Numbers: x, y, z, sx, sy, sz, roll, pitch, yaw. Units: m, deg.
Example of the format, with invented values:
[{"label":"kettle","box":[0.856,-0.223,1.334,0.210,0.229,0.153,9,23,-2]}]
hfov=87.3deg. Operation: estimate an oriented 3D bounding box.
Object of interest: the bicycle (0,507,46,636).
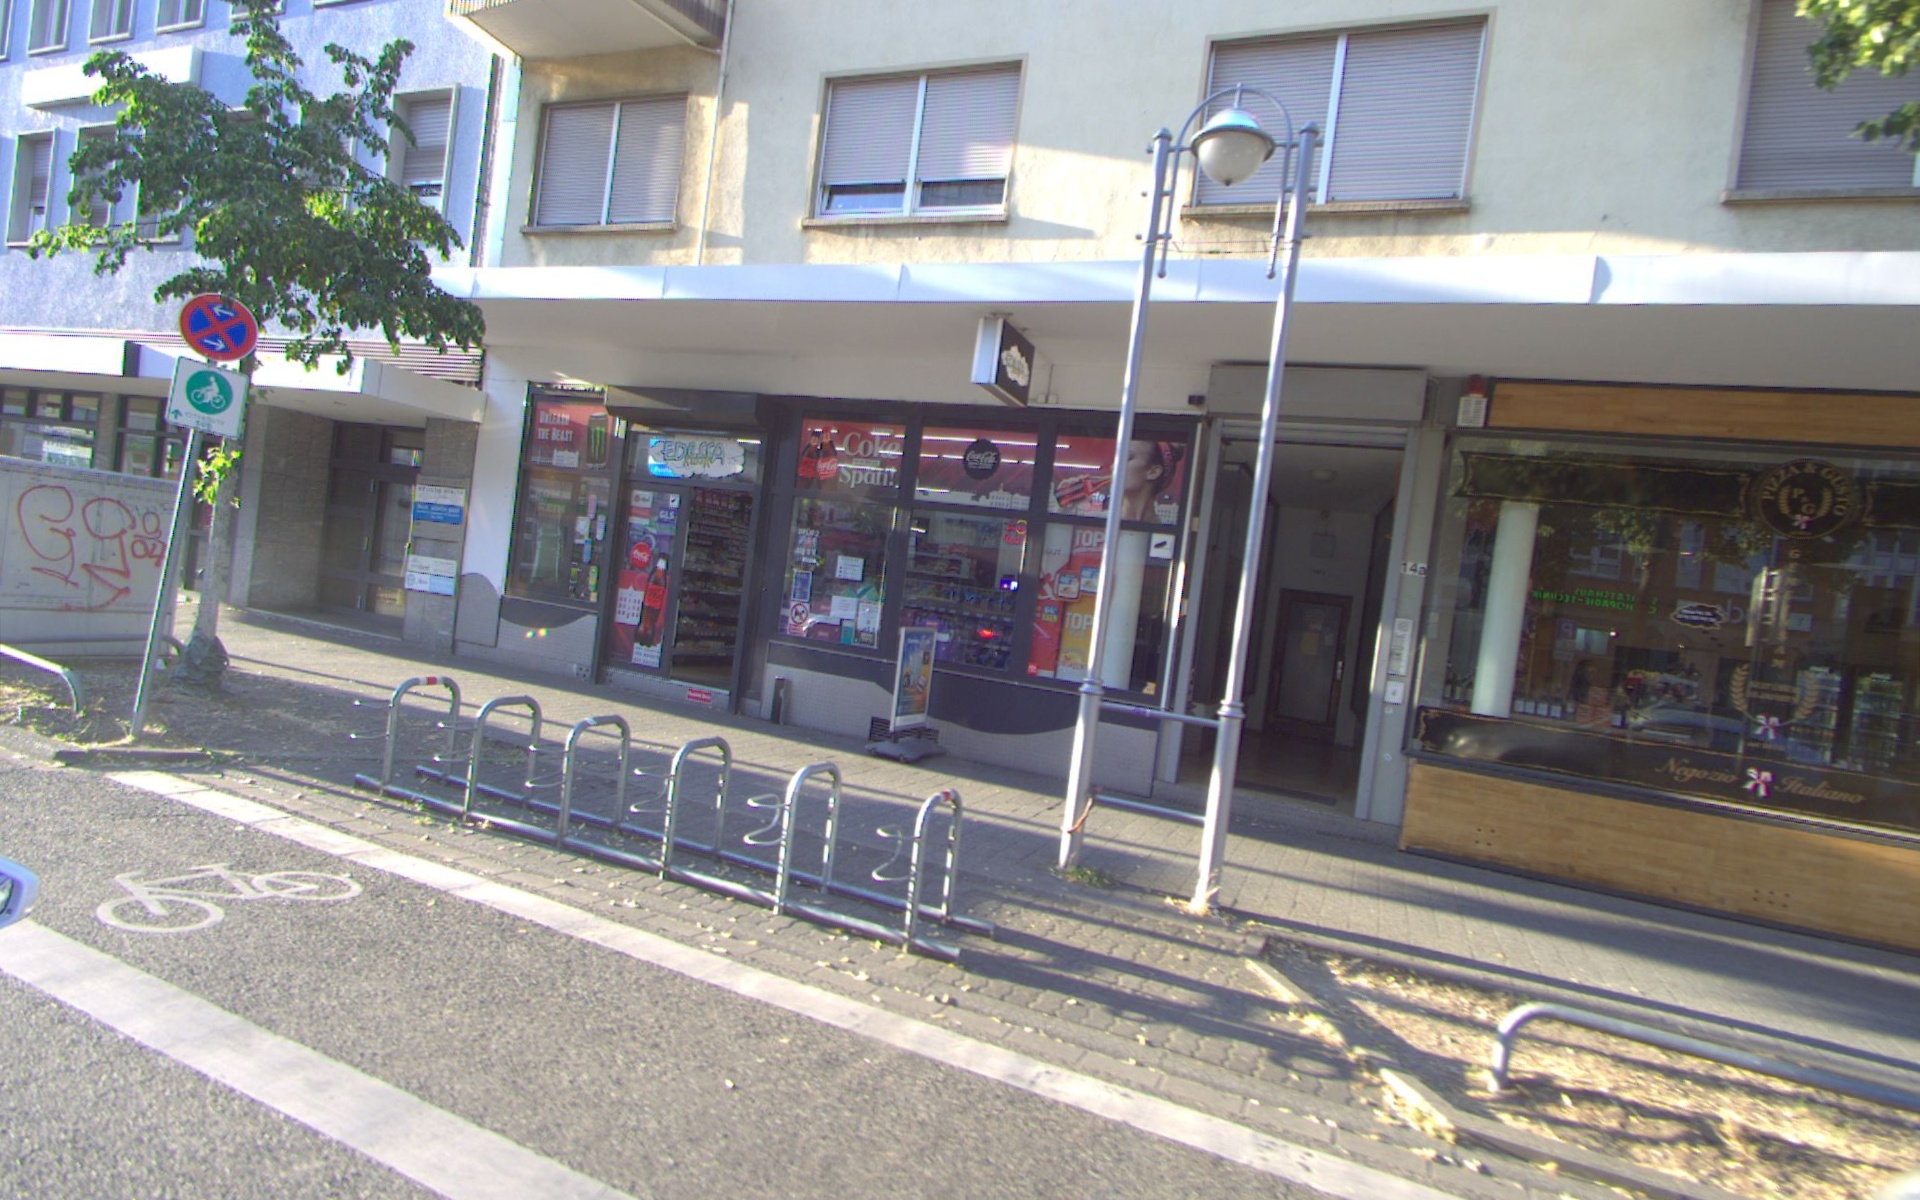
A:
[{"label":"bicycle","box":[-9.699,-0.338,9.491,0.376,1.234,1.445,7,-1,25]}]

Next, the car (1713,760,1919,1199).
[{"label":"car","box":[3.546,1.305,0.645,4.554,1.417,1.748,8,-1,23]}]
